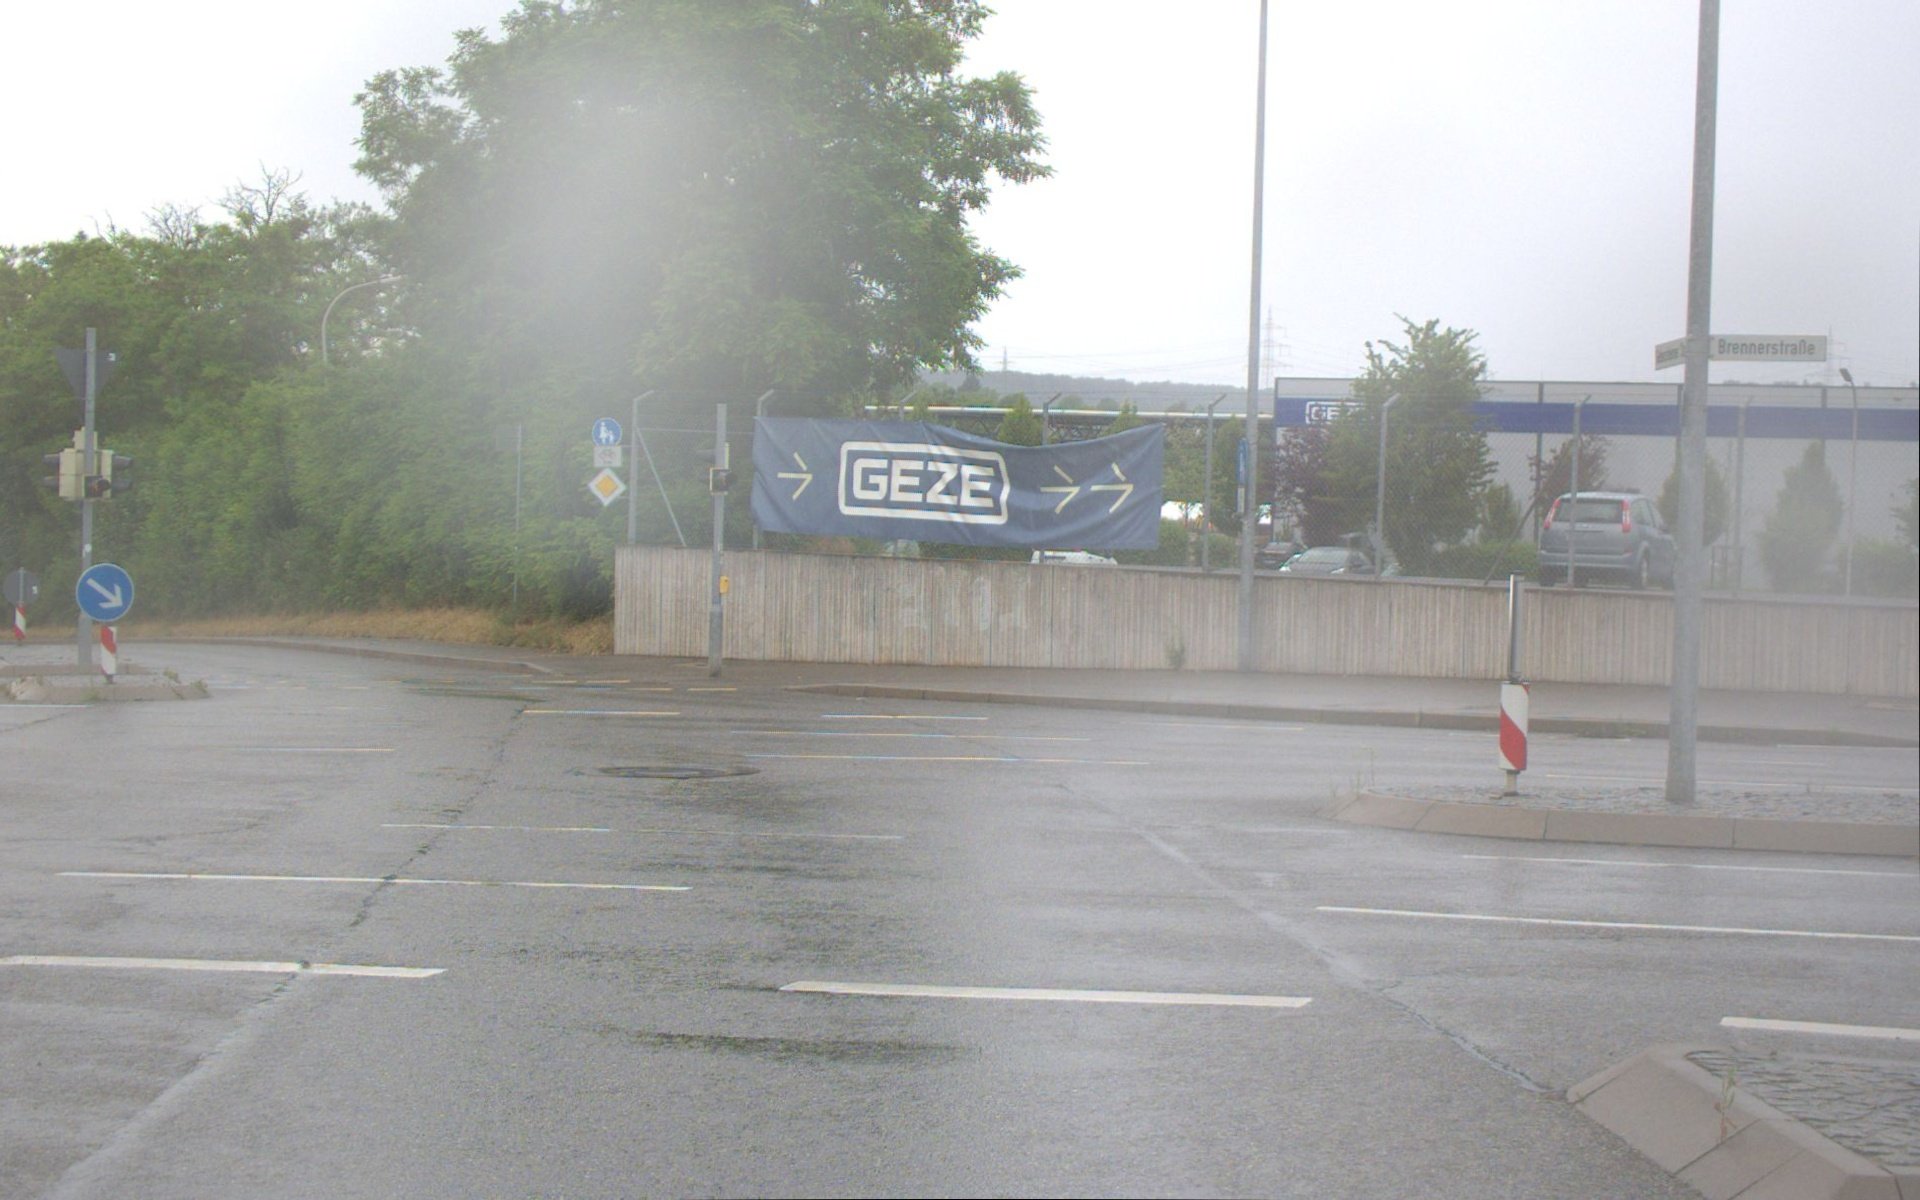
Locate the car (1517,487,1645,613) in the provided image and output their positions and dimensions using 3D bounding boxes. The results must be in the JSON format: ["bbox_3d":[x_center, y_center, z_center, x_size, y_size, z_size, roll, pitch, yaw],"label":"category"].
[{"bbox_3d":[10.453,-0.843,57.694,1.994,2.007,3.998,1,1,11],"label":"car"}]
